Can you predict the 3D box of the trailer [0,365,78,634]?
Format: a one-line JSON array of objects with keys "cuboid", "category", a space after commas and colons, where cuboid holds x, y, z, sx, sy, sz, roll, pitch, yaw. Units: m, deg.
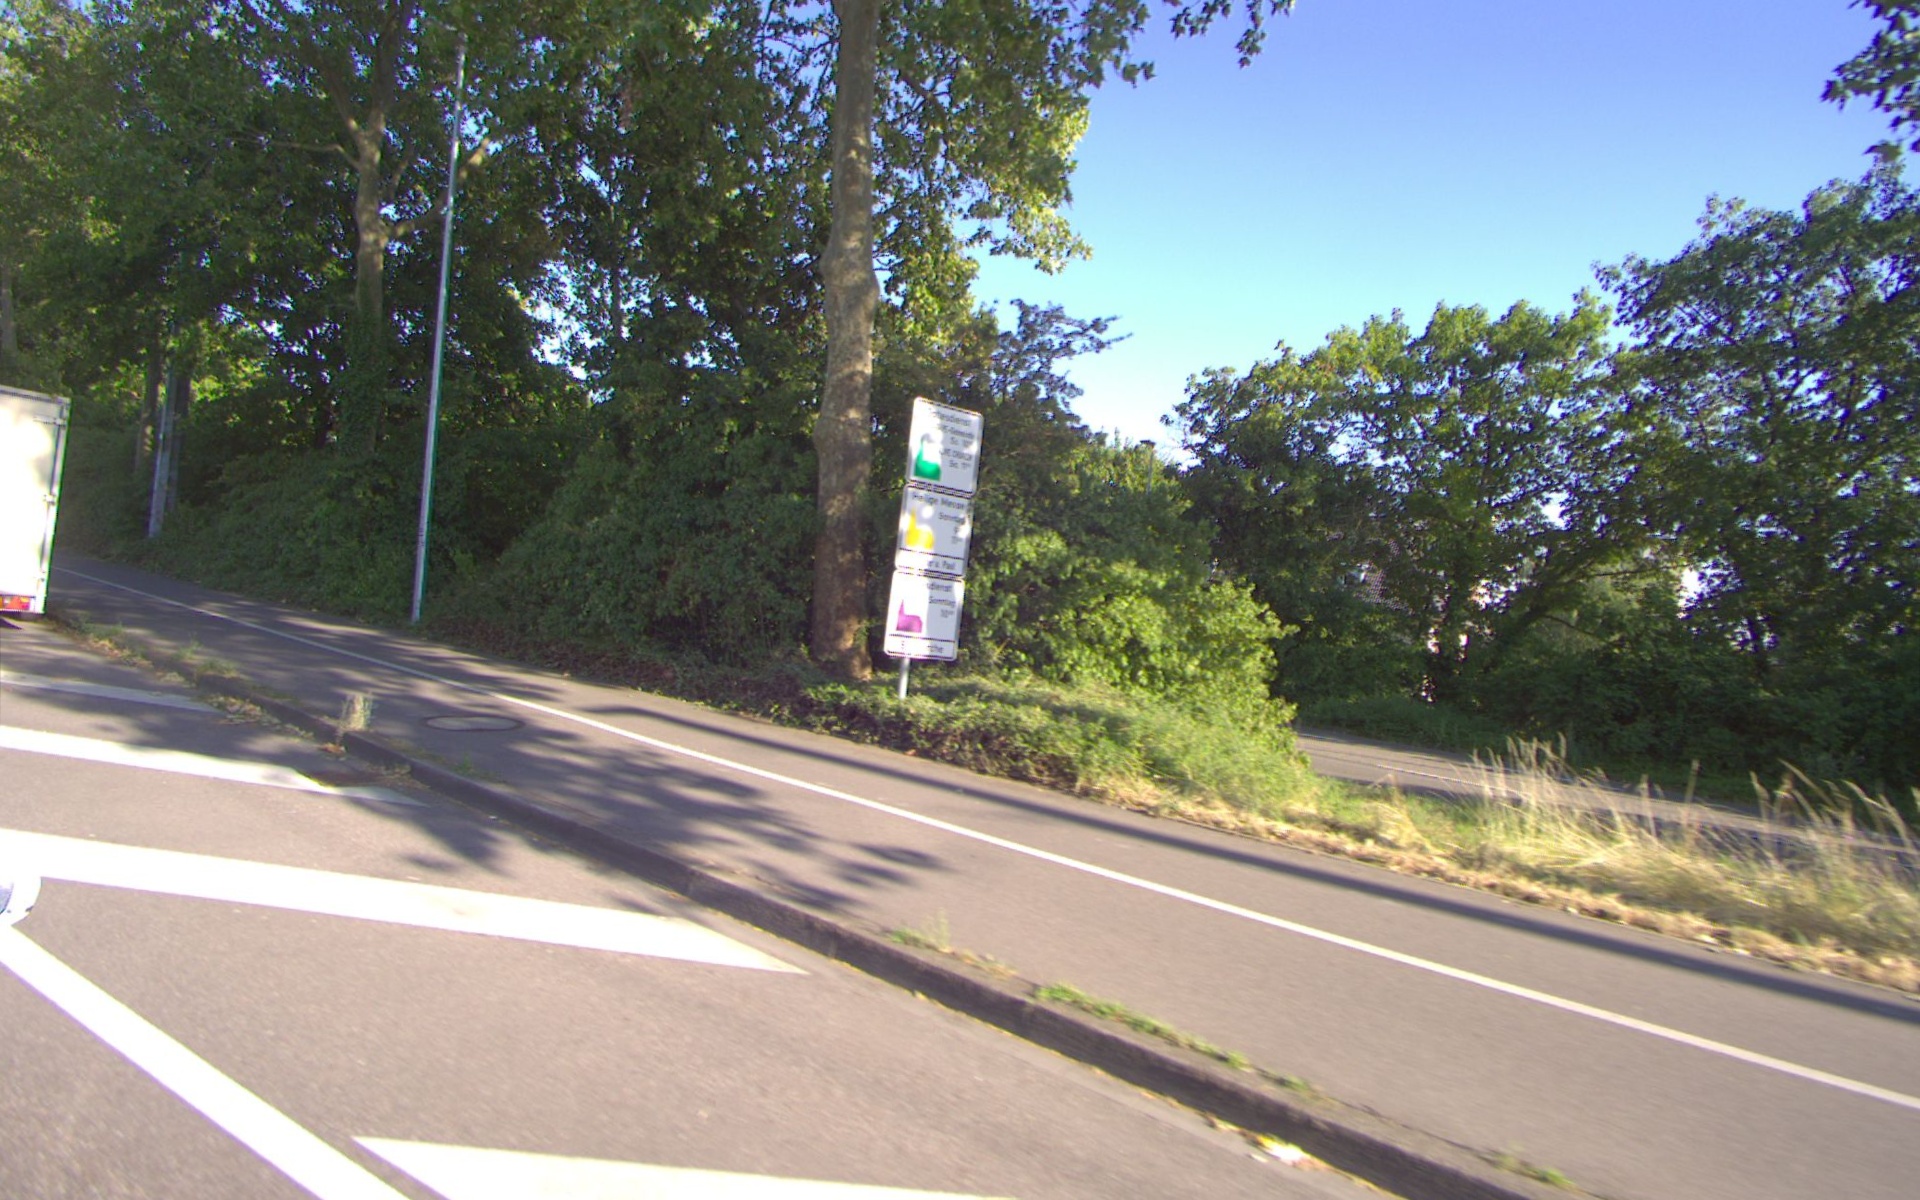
[{"cuboid": [-12.518, -1.357, 11.776, 5.861, 2.727, 2.249, 7, 0, 40], "category": "trailer"}]
